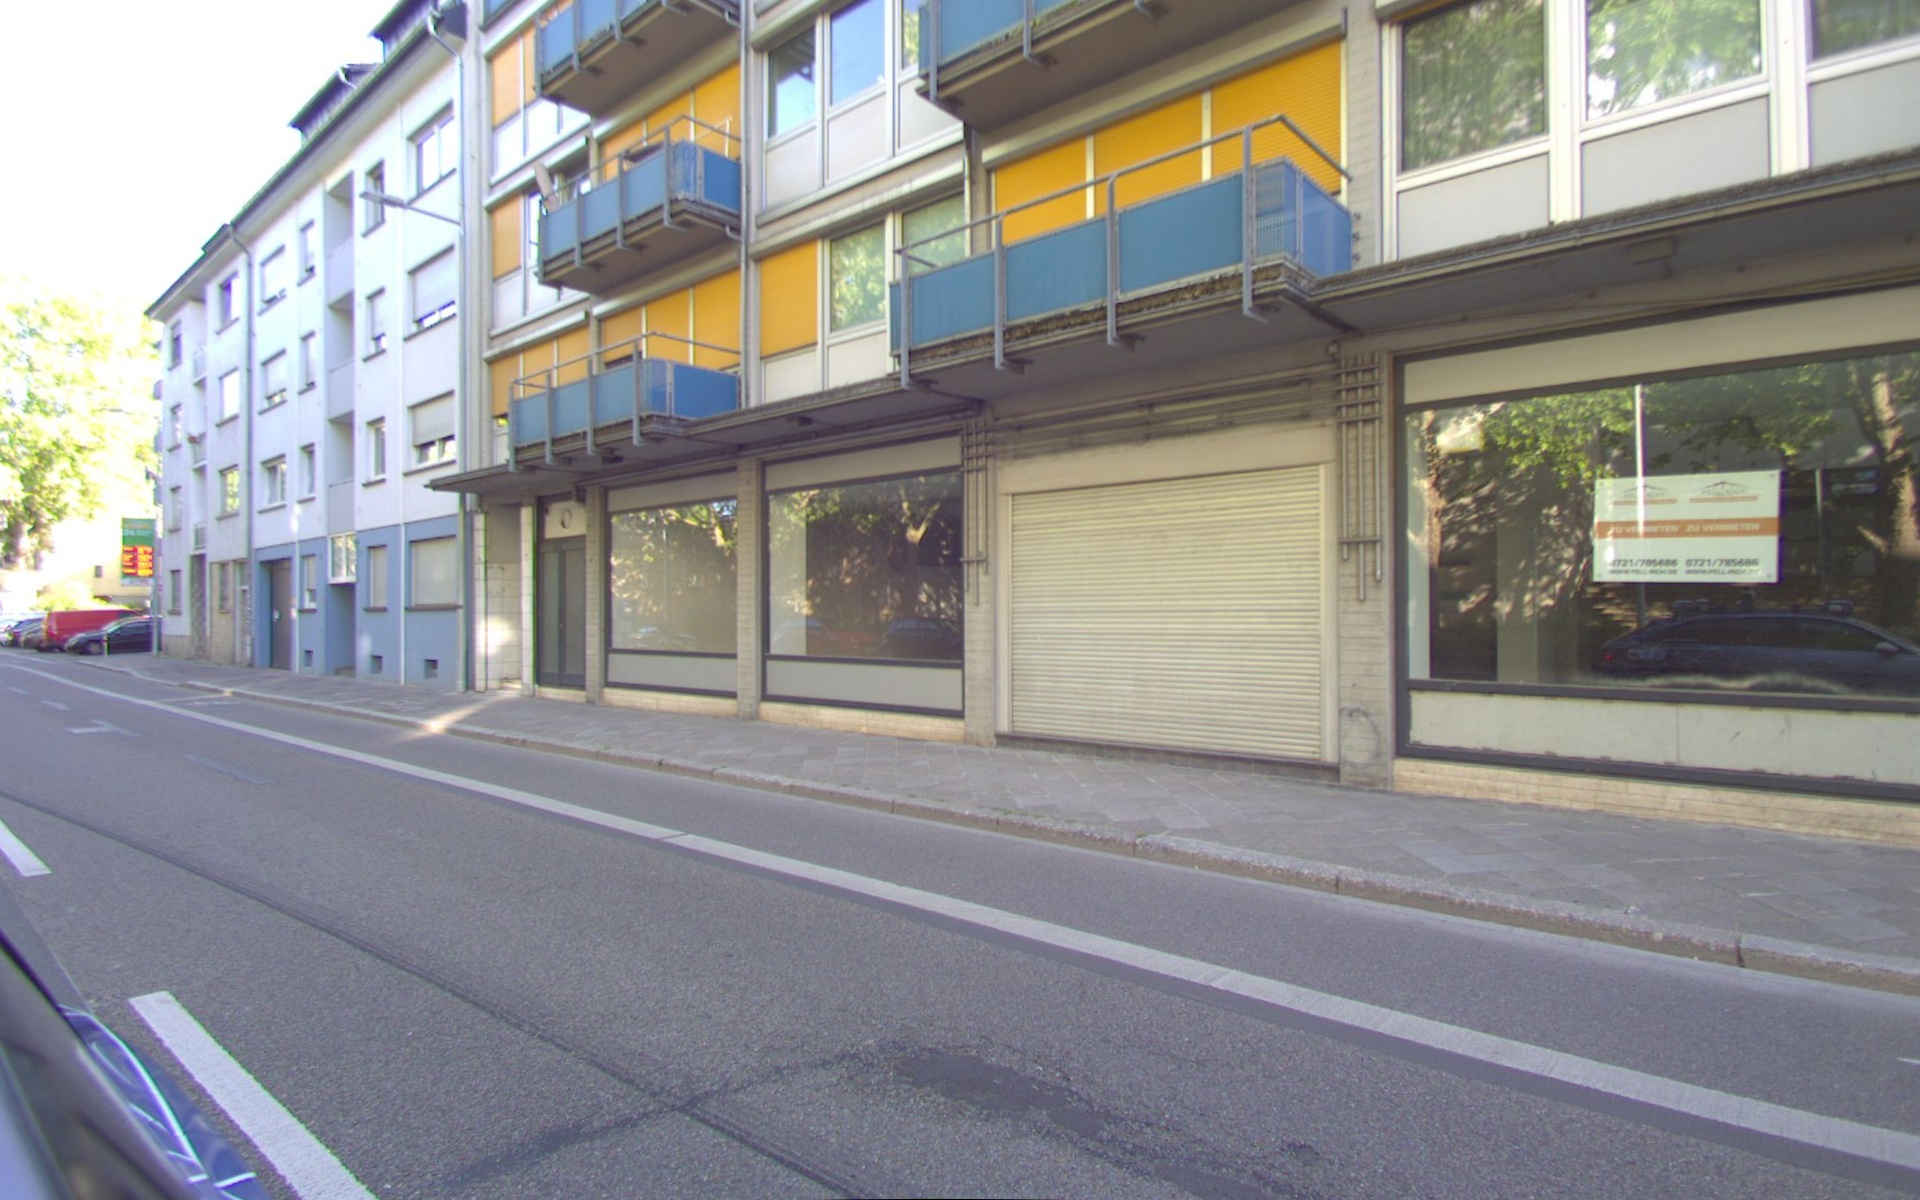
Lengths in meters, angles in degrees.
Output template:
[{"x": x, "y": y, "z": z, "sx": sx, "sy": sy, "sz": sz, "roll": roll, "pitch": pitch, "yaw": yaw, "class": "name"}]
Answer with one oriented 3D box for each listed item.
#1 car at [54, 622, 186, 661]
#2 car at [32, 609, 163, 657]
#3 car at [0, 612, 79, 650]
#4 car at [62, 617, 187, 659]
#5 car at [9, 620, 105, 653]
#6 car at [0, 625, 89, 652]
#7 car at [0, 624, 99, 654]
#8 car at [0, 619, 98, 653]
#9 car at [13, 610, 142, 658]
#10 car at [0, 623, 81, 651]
[{"x": -36.652, "y": 1.770, "z": 44.240, "sx": 2.045, "sy": 1.390, "sz": 4.184, "roll": -1, "pitch": 1, "yaw": 41, "class": "car"}, {"x": -40.566, "y": 1.514, "z": 47.663, "sx": 2.145, "sy": 1.966, "sz": 4.375, "roll": -2, "pitch": 1, "yaw": 41, "class": "car"}, {"x": -59.421, "y": 1.966, "z": 64.393, "sx": 2.139, "sy": 2.233, "sz": 4.794, "roll": -1, "pitch": 1, "yaw": 41, "class": "car"}, {"x": -37.976, "y": 1.685, "z": 46.070, "sx": 1.886, "sy": 1.575, "sz": 4.129, "roll": -1, "pitch": 1, "yaw": 41, "class": "car"}, {"x": -48.824, "y": 1.945, "z": 54.740, "sx": 1.830, "sy": 1.524, "sz": 3.647, "roll": -1, "pitch": 1, "yaw": 41, "class": "car"}, {"x": -54.385, "y": 2.260, "z": 59.983, "sx": 1.852, "sy": 1.444, "sz": 3.945, "roll": -2, "pitch": 0, "yaw": 41, "class": "car"}, {"x": -50.451, "y": 2.129, "z": 56.044, "sx": 1.915, "sy": 1.466, "sz": 3.945, "roll": -2, "pitch": 0, "yaw": 41, "class": "car"}, {"x": -52.428, "y": 2.043, "z": 58.175, "sx": 2.027, "sy": 1.696, "sz": 4.150, "roll": -1, "pitch": 0, "yaw": 41, "class": "car"}, {"x": -42.877, "y": 1.612, "z": 49.236, "sx": 2.056, "sy": 1.966, "sz": 4.475, "roll": -2, "pitch": 1, "yaw": 41, "class": "car"}, {"x": -56.031, "y": 2.231, "z": 61.330, "sx": 1.852, "sy": 1.571, "sz": 3.945, "roll": -2, "pitch": 0, "yaw": 41, "class": "car"}]
